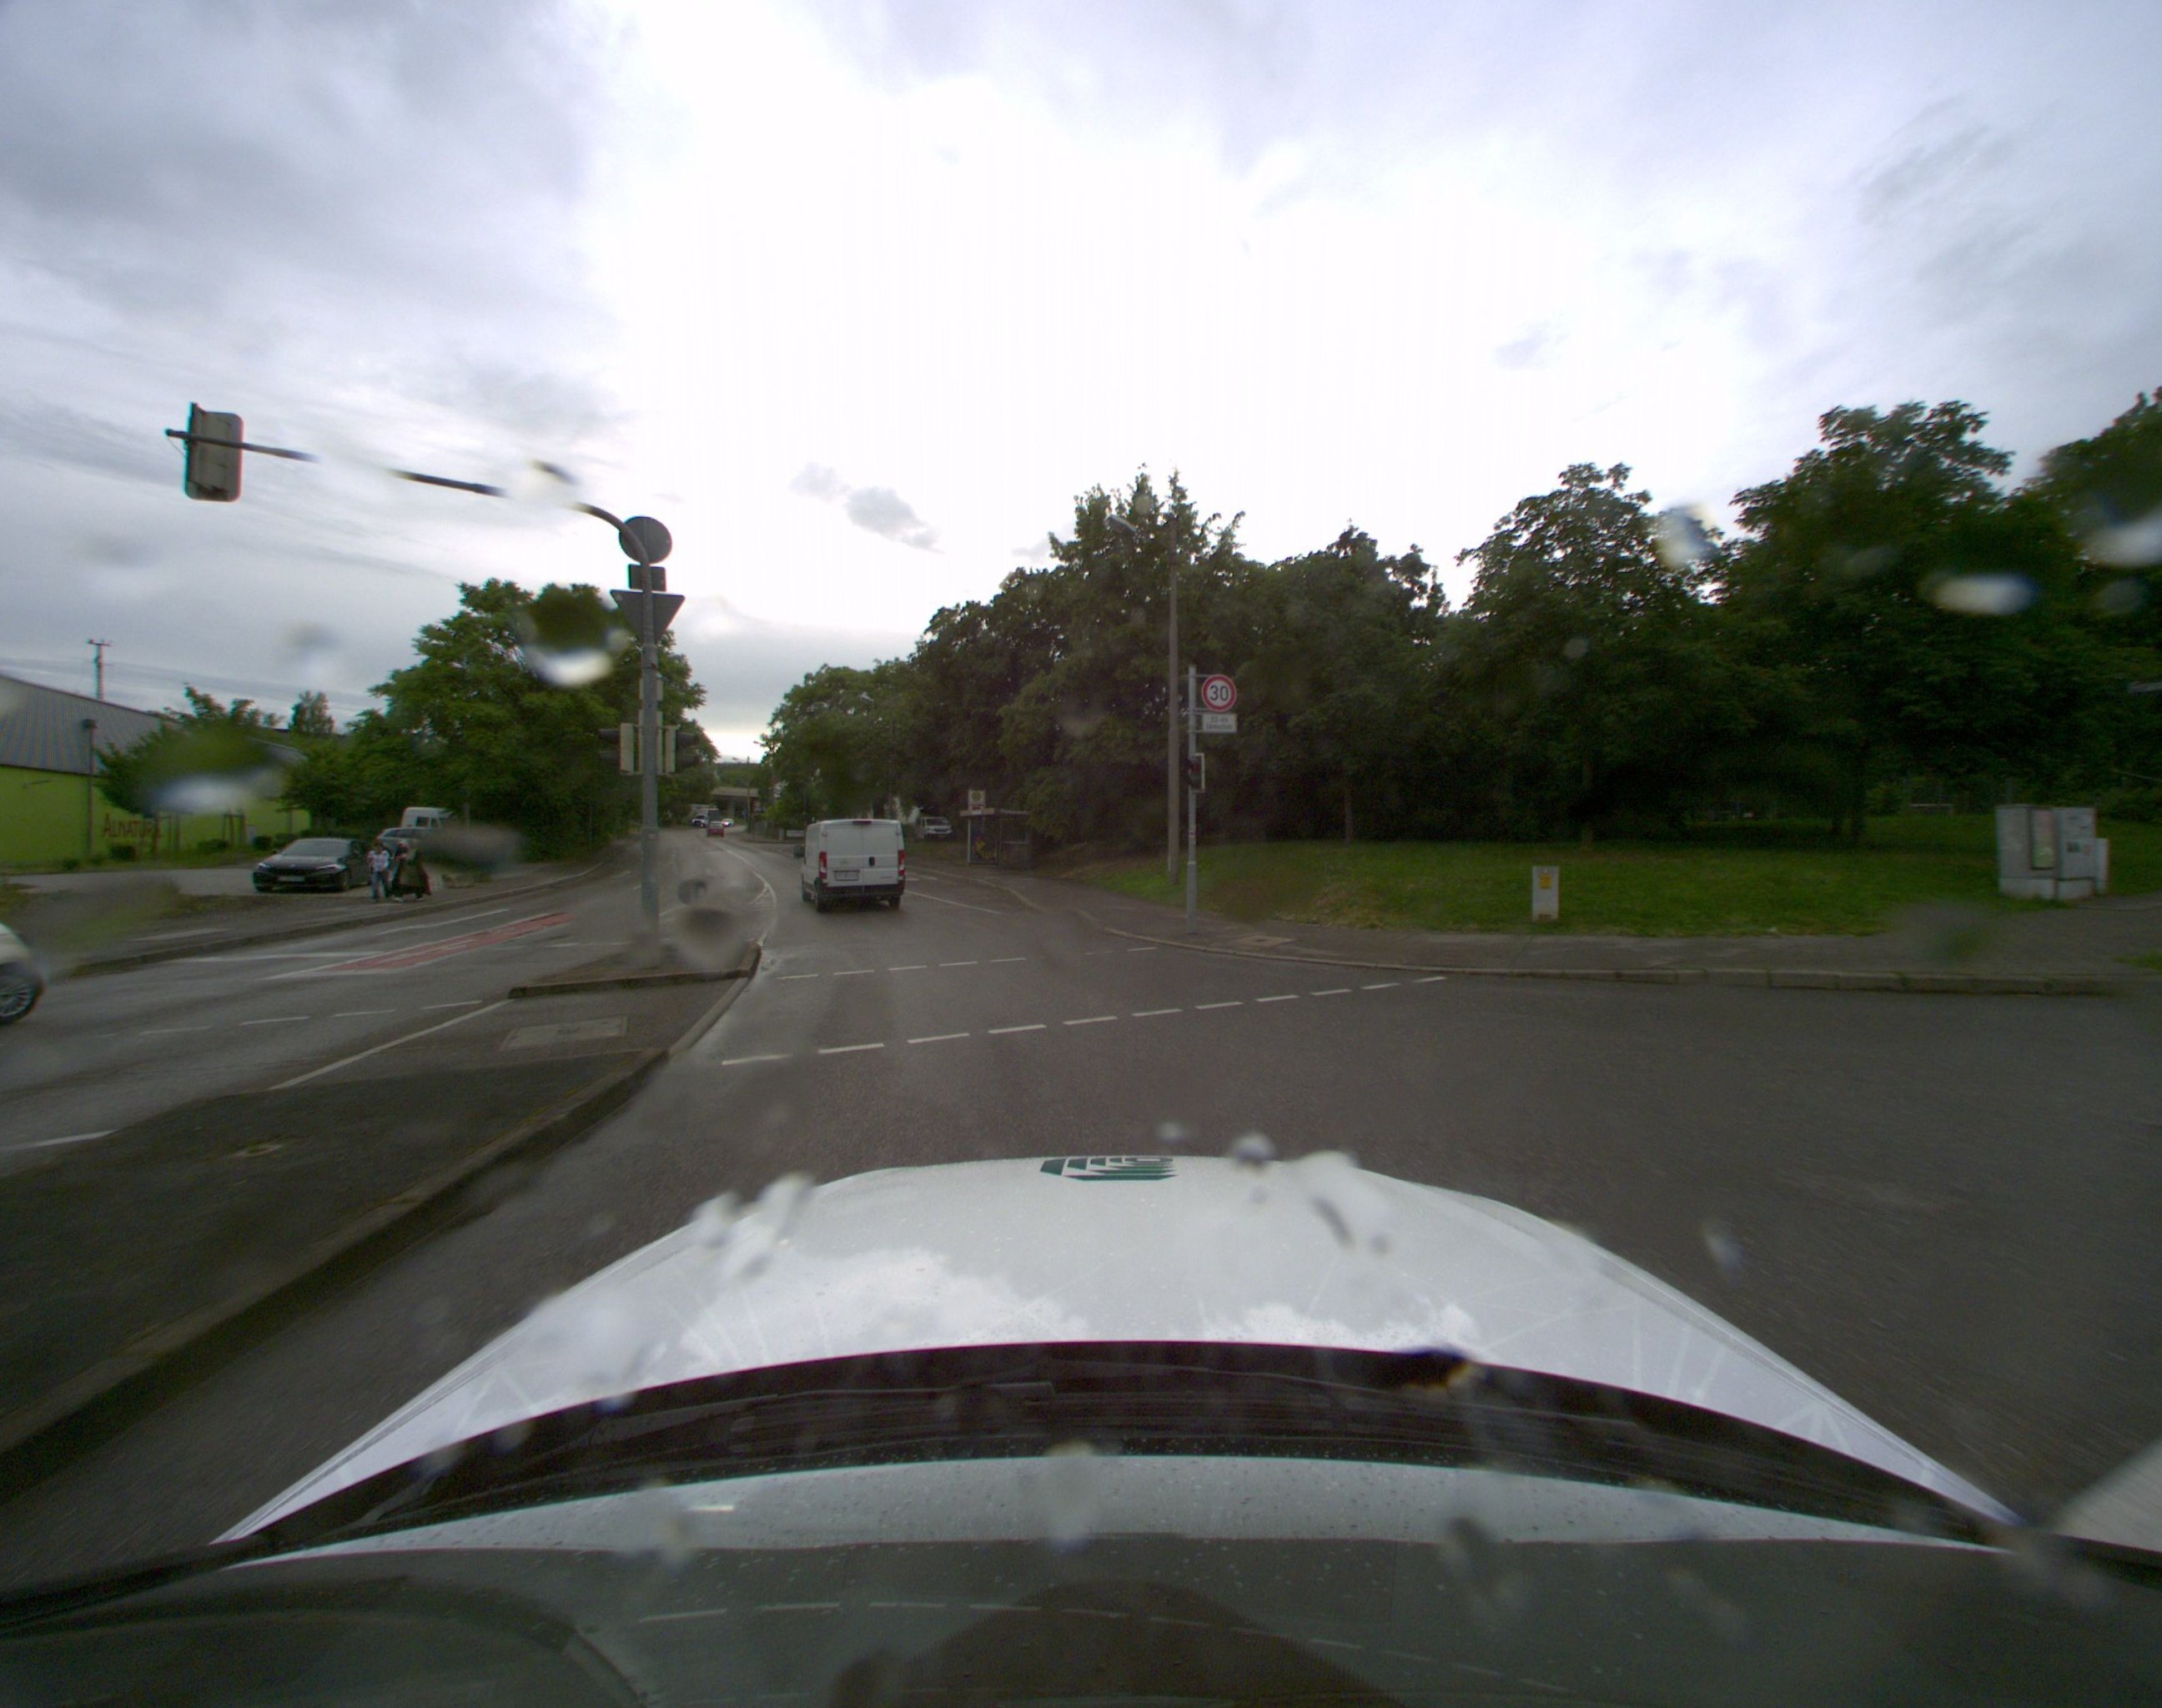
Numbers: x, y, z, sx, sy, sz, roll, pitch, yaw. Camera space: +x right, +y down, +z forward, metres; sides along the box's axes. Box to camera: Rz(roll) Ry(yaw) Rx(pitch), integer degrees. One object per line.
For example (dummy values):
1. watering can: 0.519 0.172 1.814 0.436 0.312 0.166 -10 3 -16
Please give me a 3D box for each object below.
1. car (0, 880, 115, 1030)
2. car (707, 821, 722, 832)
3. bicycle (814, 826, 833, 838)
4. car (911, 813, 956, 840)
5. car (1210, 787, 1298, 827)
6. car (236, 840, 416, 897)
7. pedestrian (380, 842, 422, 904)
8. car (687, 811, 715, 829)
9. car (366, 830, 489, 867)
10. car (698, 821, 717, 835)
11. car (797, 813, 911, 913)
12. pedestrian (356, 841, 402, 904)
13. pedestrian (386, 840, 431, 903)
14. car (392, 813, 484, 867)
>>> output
1. car: -11.827 1.094 7.326 1.685 1.482 3.992 -2 1 -6
2. car: -50.556 -3.786 112.400 1.773 1.510 3.727 0 3 -23
3. bicycle: -24.001 -2.035 75.895 1.578 1.114 0.454 -2 3 -24
4. car: -10.594 -1.988 58.125 2.003 1.804 5.107 1 2 -24
5. car: 9.568 -2.588 45.126 4.309 1.778 1.798 -6 3 -7
6. car: -21.395 0.349 23.347 1.747 1.449 4.220 1 1 -10
7. pedestrian: -18.132 0.503 21.721 0.605 1.601 0.675 1 2 -13
8. car: -67.709 -6.066 145.242 2.532 3.017 7.193 0 2 -8
9. car: -30.648 -0.281 38.304 4.101 1.542 2.000 1 2 -1
10. car: -42.797 -2.993 93.288 1.846 1.533 4.167 0 3 -27
11. car: -6.133 0.155 21.524 2.156 2.283 5.023 -2 2 -24
12. pedestrian: -18.422 0.484 21.382 0.656 1.601 0.675 1 2 -13
13. pedestrian: -17.554 0.457 21.265 0.656 1.601 0.675 1 2 -13
14. car: -33.278 -0.779 42.080 5.534 2.532 2.127 3 3 34
